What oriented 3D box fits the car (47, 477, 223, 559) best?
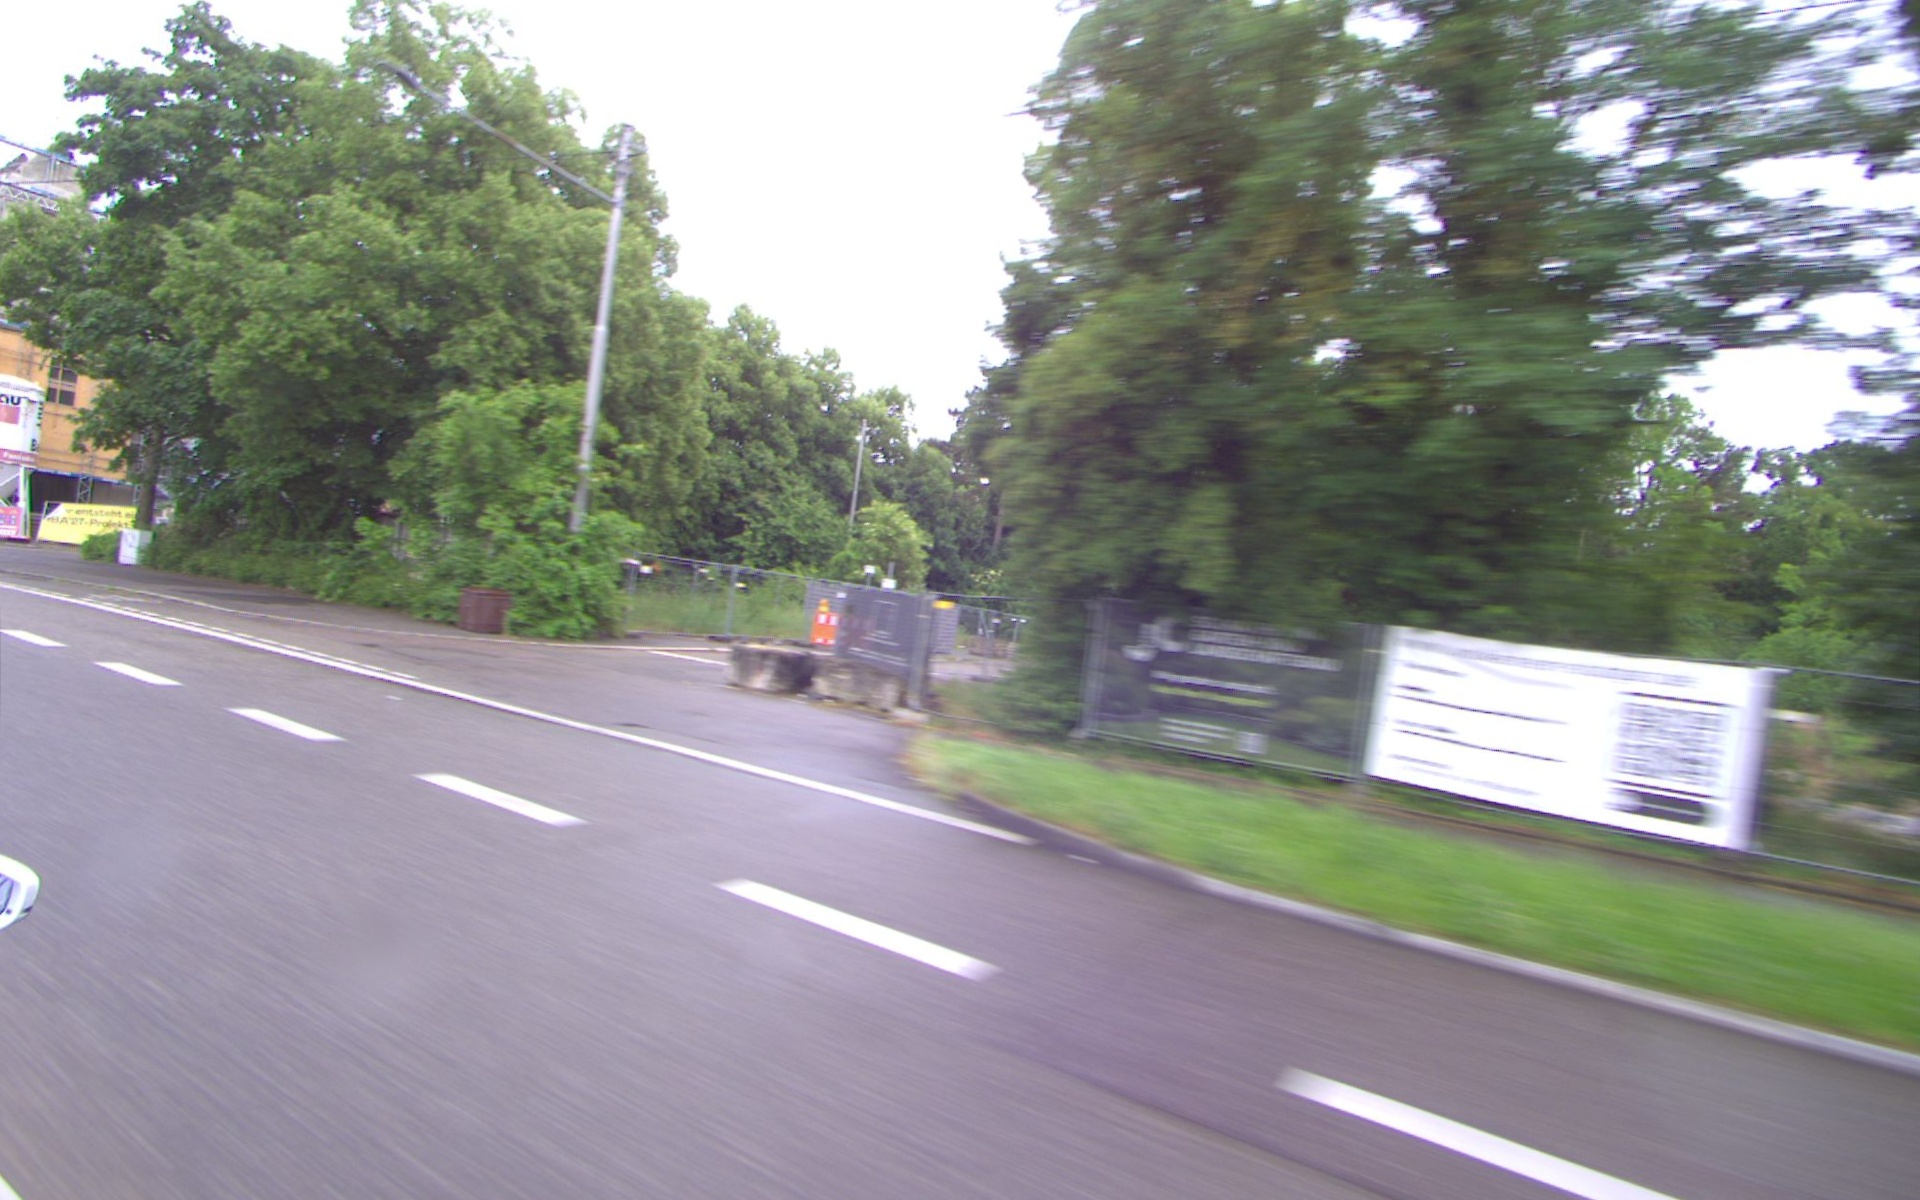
[{"bbox_3d":[-27.743,-2.711,33.992,3.937,2.038,1.995,7,0,-14],"label":"car"}]
